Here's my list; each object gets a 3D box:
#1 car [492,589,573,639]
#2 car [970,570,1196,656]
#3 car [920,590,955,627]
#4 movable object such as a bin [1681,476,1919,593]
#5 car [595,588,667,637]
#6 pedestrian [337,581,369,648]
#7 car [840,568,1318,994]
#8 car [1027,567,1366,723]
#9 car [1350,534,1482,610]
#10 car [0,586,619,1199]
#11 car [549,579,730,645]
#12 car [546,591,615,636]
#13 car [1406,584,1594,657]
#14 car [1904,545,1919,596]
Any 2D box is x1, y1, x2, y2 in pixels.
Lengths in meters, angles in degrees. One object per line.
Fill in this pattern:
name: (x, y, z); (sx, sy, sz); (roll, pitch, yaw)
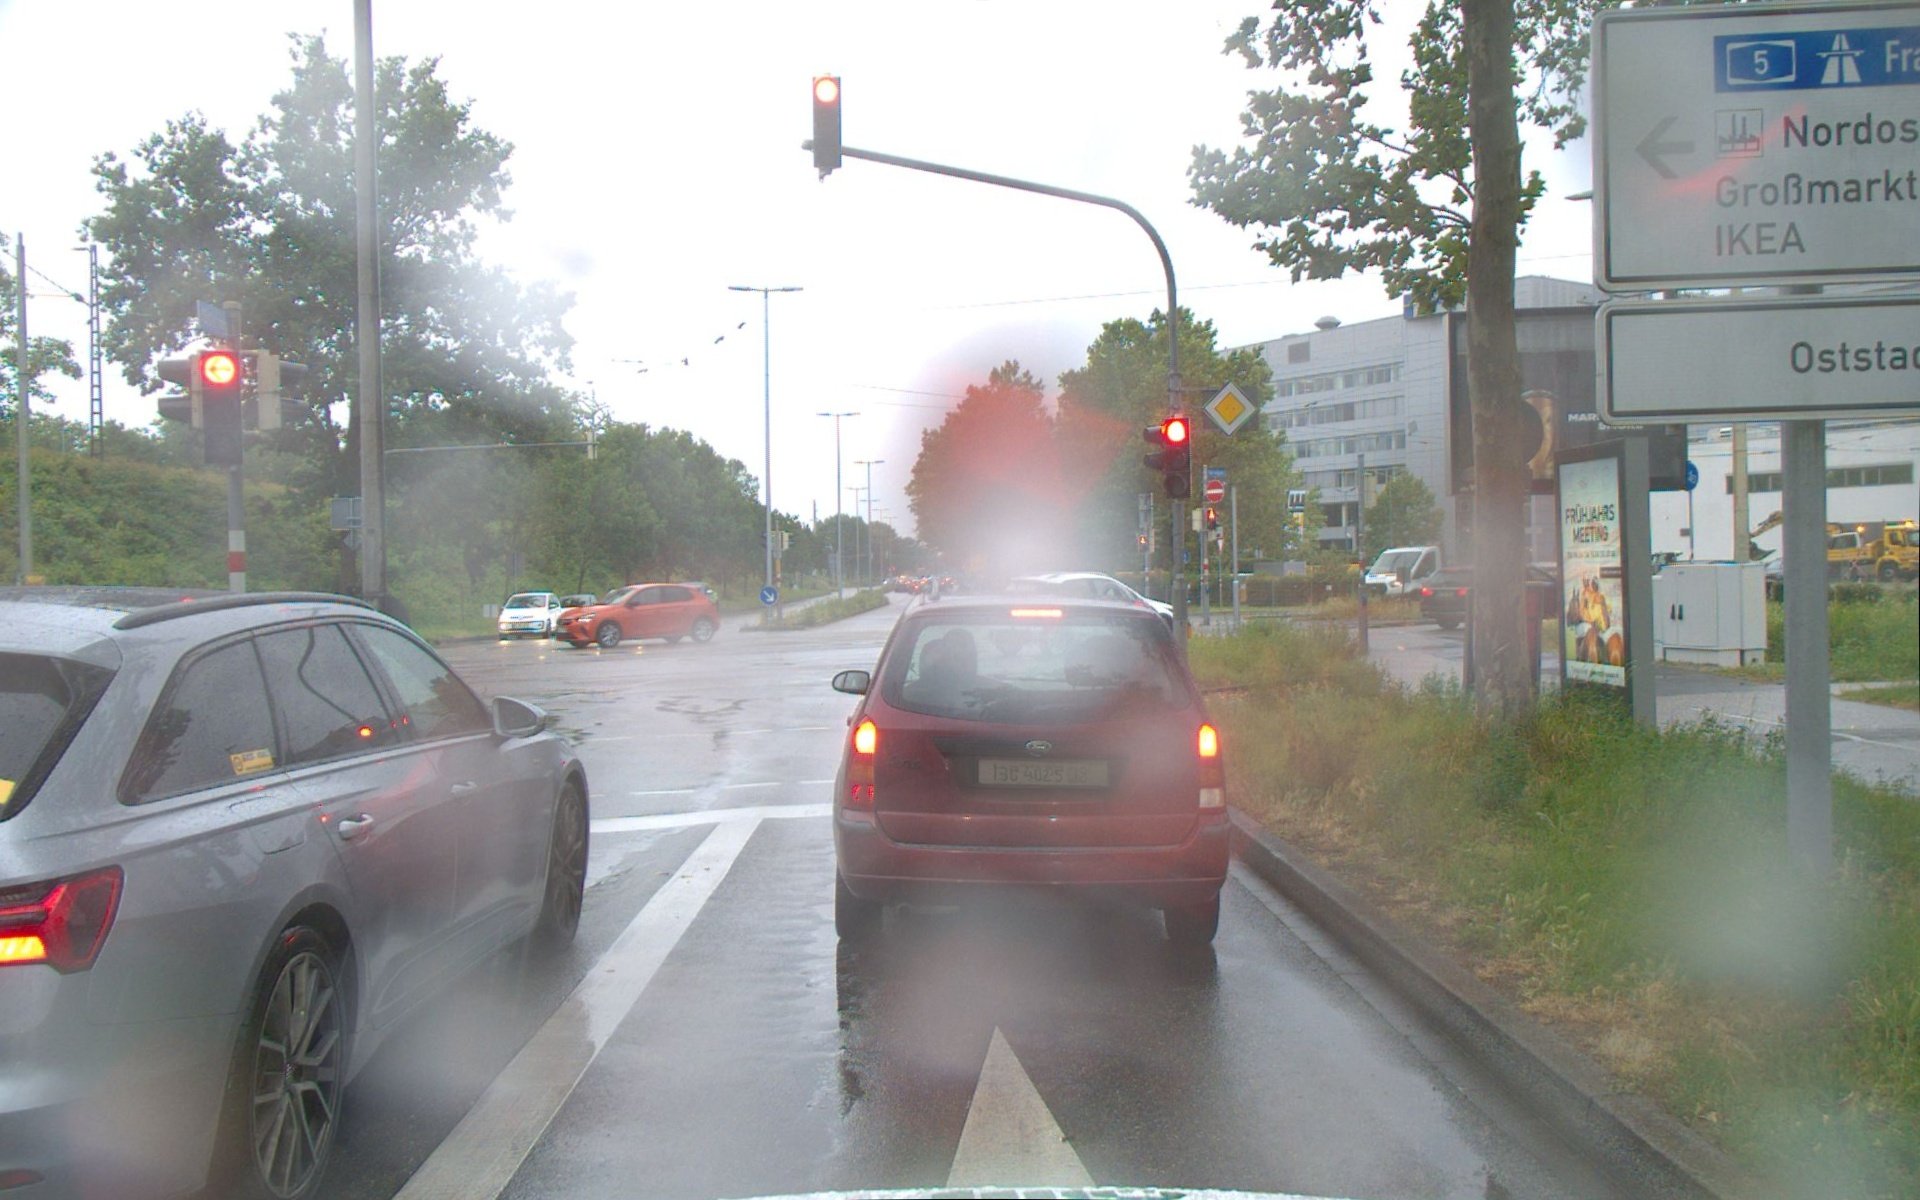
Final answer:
car: (-14.135, 0.443, 54.936); (1.678, 1.556, 3.999); (-1, 0, -1)
car: (2.407, 0.225, 32.231); (4.010, 1.547, 1.979); (-1, 0, -32)
car: (-1.336, 0.476, 96.224); (1.953, 2.049, 3.999); (-1, 0, -1)
movable object such as a bin: (52.935, -3.680, 100.473); (8.168, 6.393, 14.792); (1, 0, -34)
car: (-11.148, 0.390, 56.202); (1.678, 1.556, 3.999); (-1, 0, -1)
pedestrian: (-16.777, 0.402, 45.696); (0.522, 1.817, 0.673); (0, -1, 16)
car: (0.413, 0.664, 8.333); (1.760, 1.564, 4.386); (1, 0, -1)
car: (3.032, 0.461, 20.628); (4.349, 1.563, 1.775); (-4, 3, -41)
car: (14.875, -0.936, 53.927); (4.339, 2.228, 1.779); (-4, 2, -36)
car: (-2.299, 0.699, 4.978); (1.656, 1.458, 4.573); (0, 0, -1)
car: (-7.676, 0.274, 39.785); (3.961, 1.454, 1.694); (-2, 1, -39)
car: (-14.065, 0.475, 61.476); (1.678, 1.556, 3.999); (-1, 0, -1)
car: (12.661, 0.456, 38.723); (4.327, 1.564, 1.784); (-1, 0, -30)
car: (31.610, -0.958, 51.673); (4.327, 1.564, 1.784); (-1, 0, -30)
